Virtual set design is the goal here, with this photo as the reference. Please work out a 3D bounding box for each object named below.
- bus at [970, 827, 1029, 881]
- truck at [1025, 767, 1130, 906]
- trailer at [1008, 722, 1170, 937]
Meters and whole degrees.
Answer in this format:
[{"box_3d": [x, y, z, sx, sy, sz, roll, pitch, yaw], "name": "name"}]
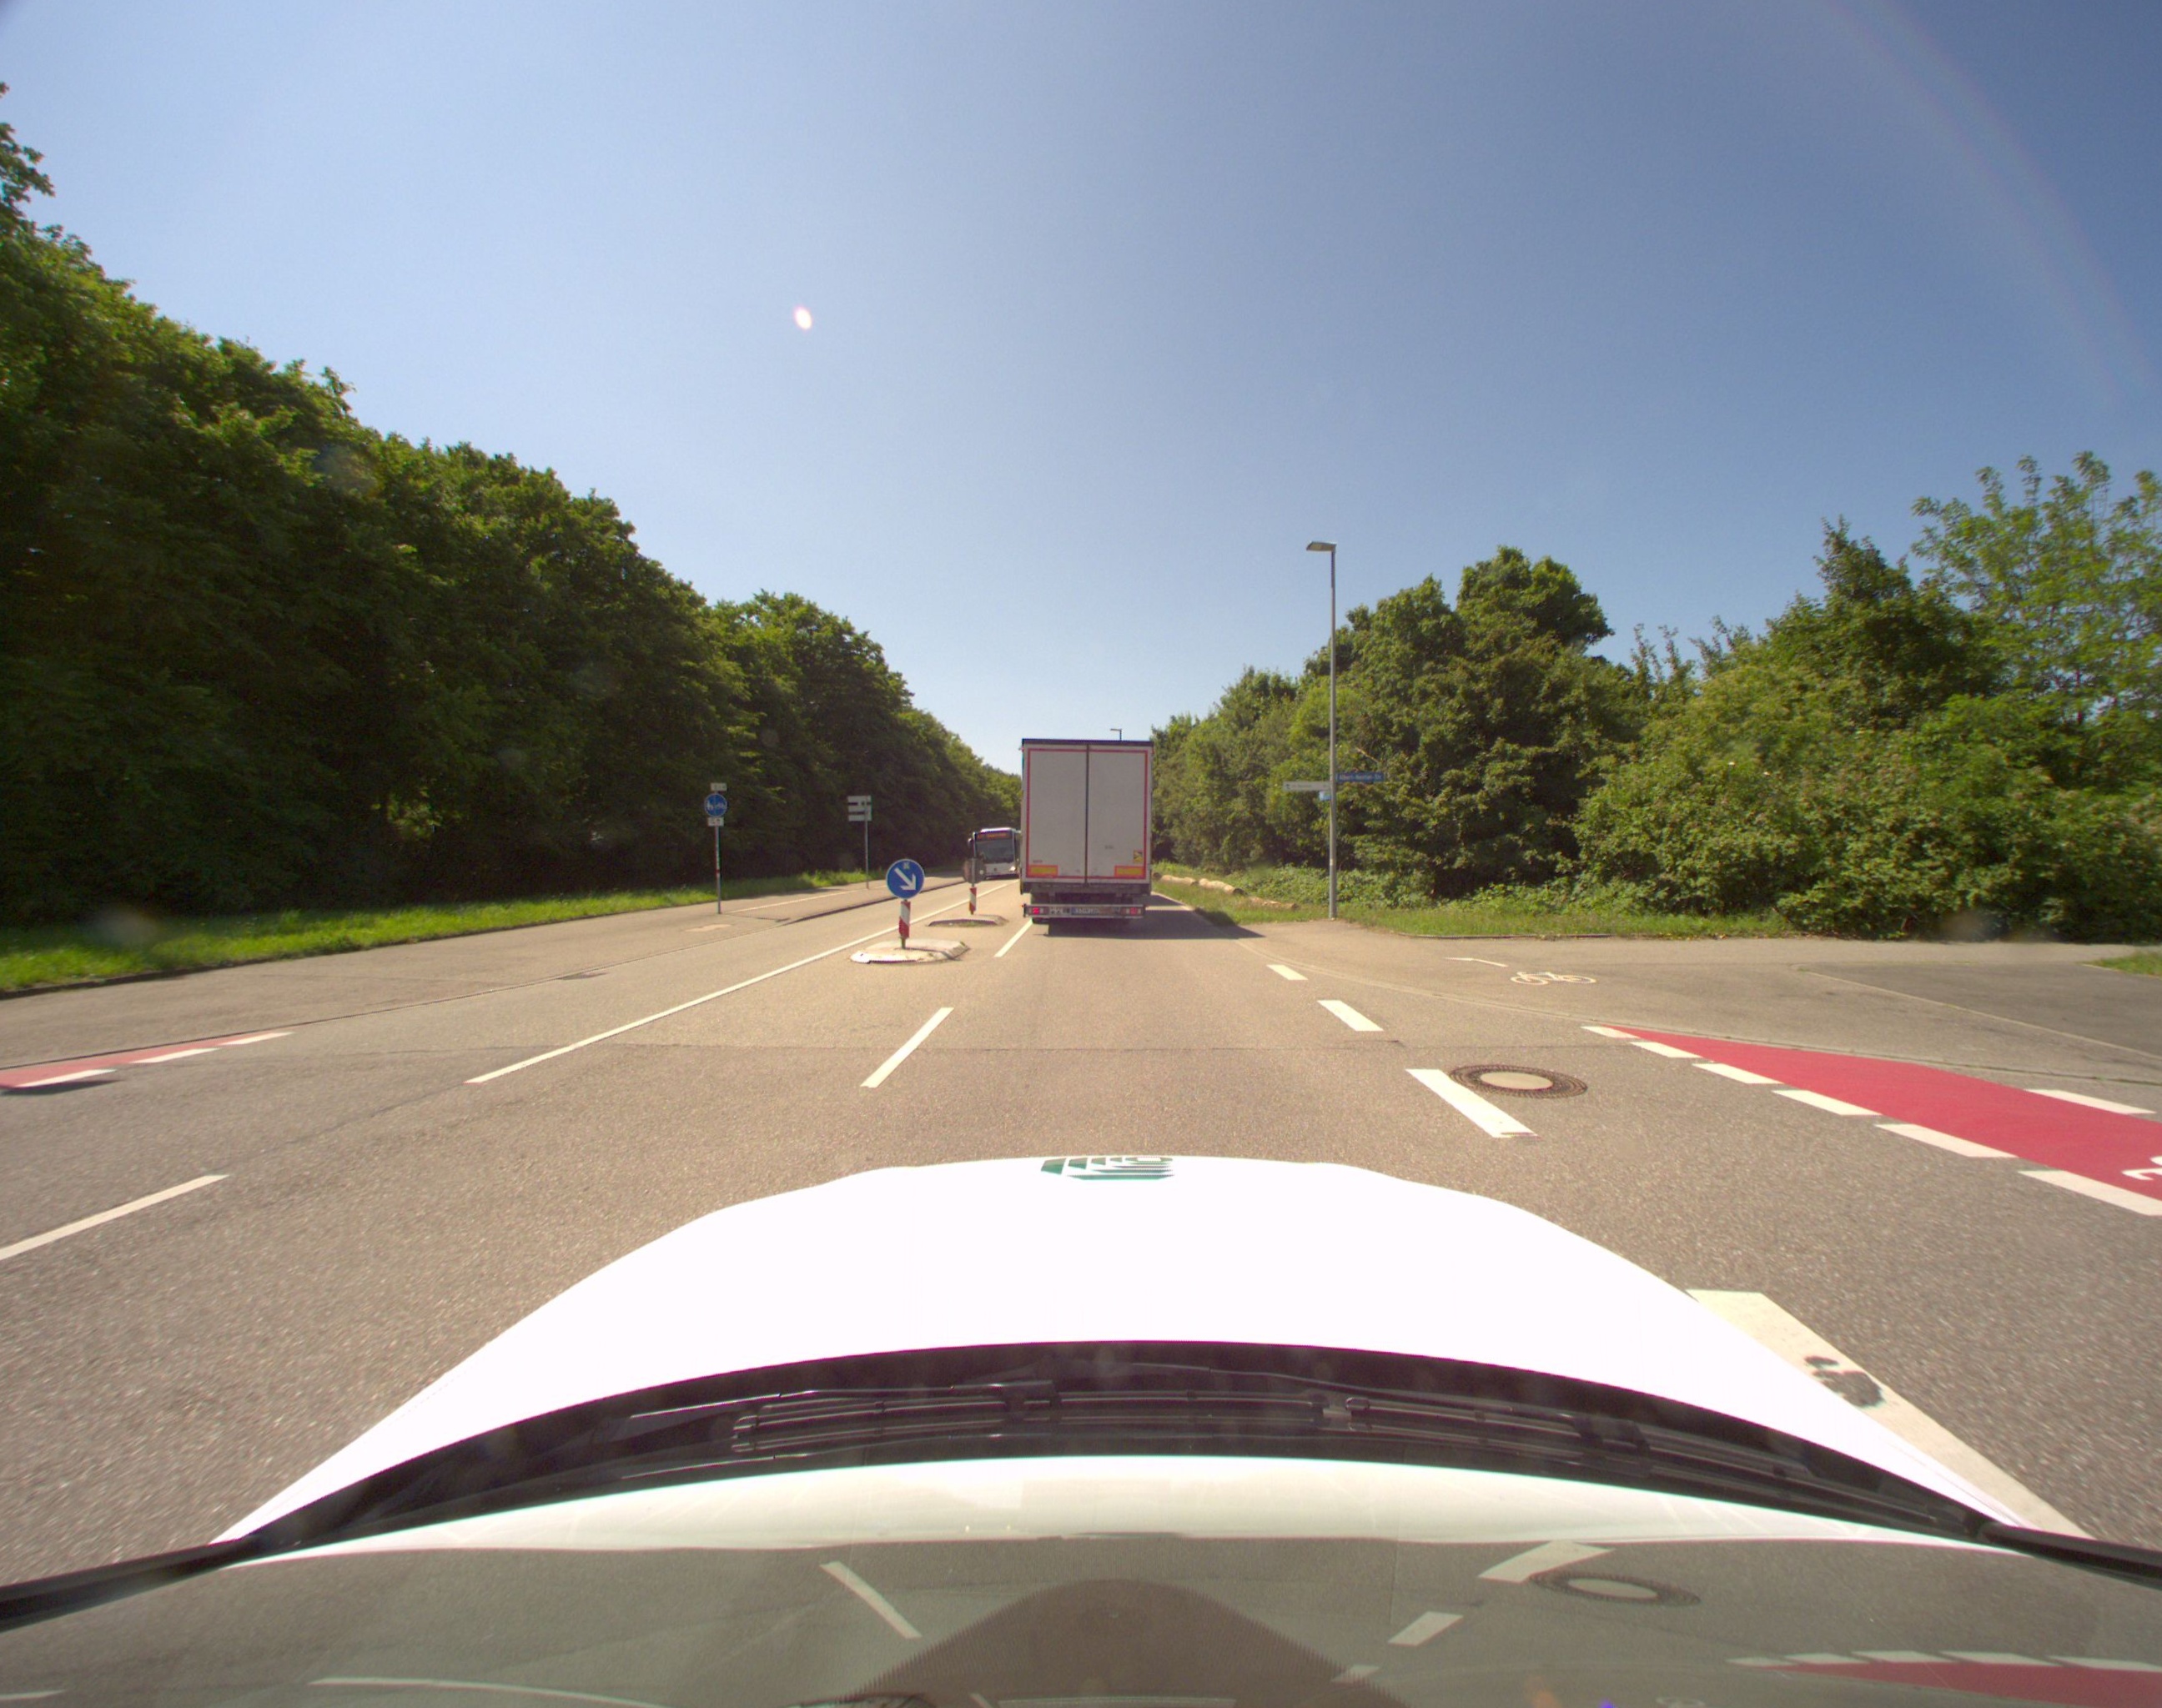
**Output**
[{"box_3d": [-5.117, -0.012, 53.245, 2.742, 3.045, 11.931, -2, 0, -1], "name": "bus"}, {"box_3d": [-0.228, -0.519, 27.857, 3.069, 4.069, 7.953, 0, 0, -2], "name": "truck"}, {"box_3d": [0.011, -0.468, 20.353, 3.069, 4.069, 9.801, 0, 0, -2], "name": "trailer"}]
